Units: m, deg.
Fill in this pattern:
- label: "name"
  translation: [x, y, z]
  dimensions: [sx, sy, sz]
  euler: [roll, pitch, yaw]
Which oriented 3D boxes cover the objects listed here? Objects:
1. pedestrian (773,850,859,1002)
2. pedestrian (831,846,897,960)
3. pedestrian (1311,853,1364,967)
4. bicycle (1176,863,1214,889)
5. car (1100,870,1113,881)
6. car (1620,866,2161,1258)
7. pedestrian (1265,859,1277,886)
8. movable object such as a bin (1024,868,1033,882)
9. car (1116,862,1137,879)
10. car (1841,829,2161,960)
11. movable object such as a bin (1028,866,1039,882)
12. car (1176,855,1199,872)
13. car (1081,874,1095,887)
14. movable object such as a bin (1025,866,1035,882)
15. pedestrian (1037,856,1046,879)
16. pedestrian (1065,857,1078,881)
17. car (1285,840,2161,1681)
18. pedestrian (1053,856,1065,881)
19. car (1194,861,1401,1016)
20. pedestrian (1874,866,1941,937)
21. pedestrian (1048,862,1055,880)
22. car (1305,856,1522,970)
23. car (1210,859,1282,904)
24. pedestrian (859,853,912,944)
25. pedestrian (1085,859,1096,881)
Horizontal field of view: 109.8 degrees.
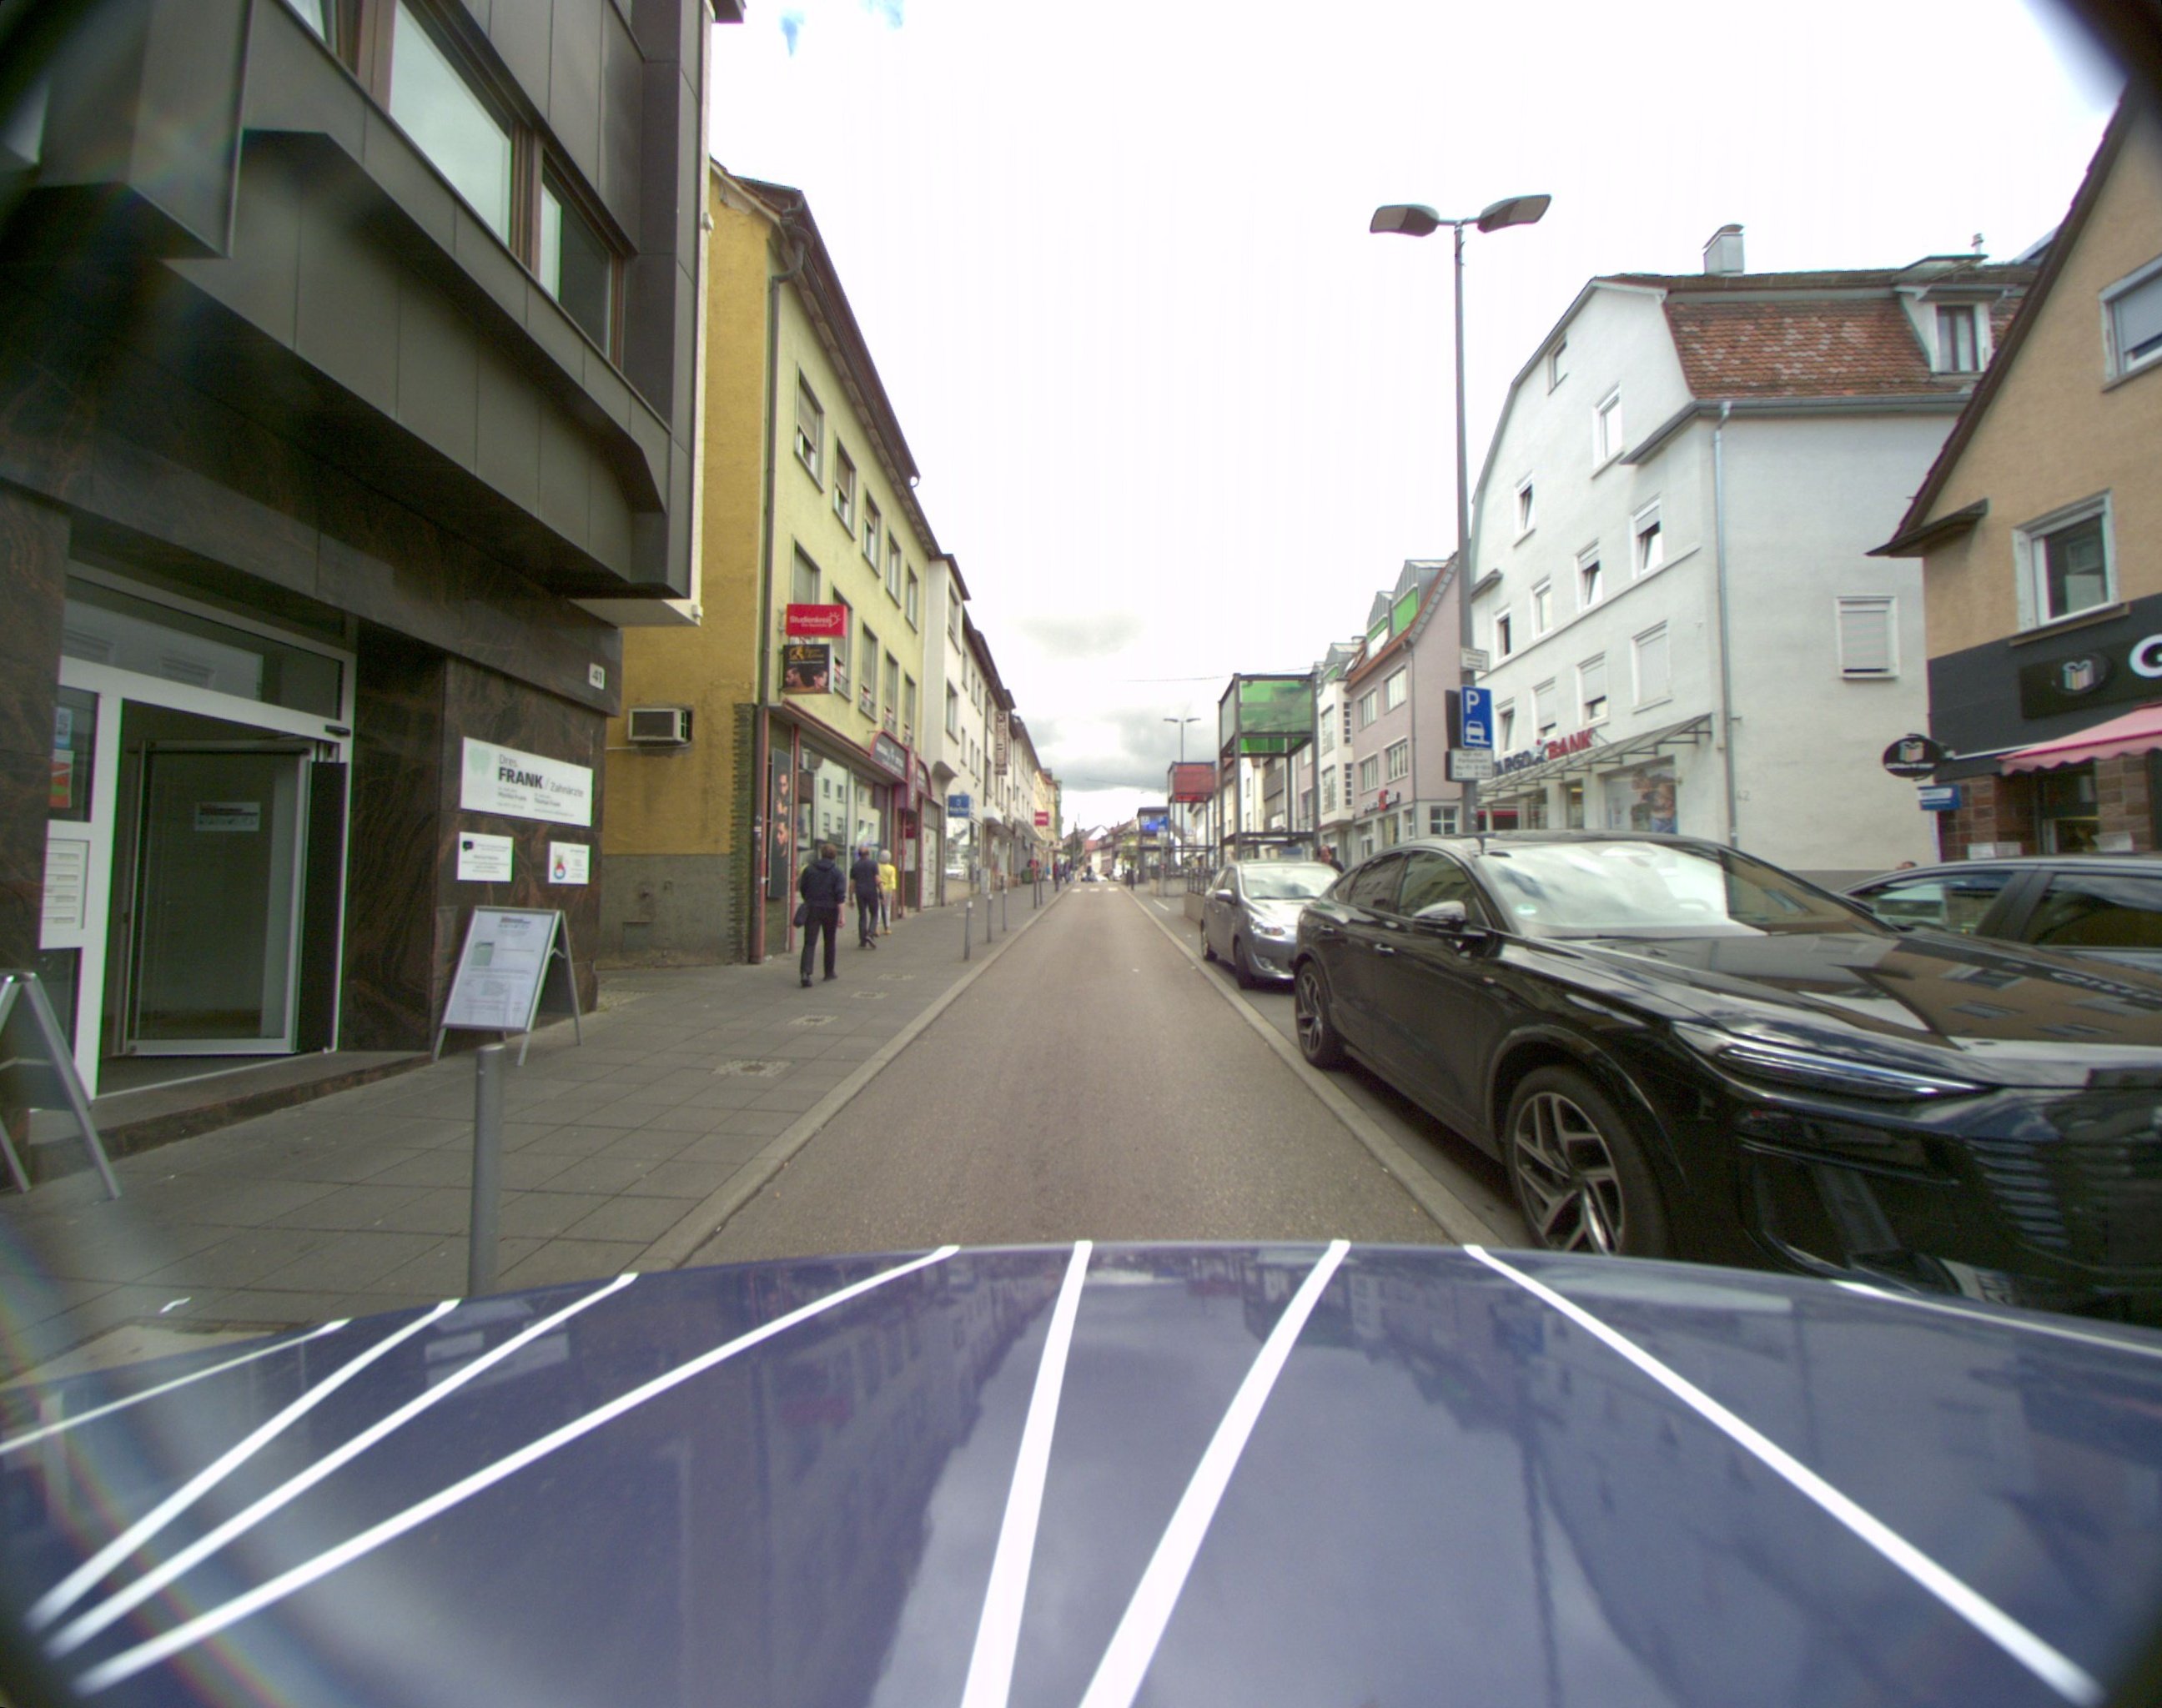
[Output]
- label: "pedestrian"
  translation: [-3.182, 0.832, 9.197]
  dimensions: [0.713, 1.743, 0.787]
  euler: [1, 0, 1]
- label: "pedestrian"
  translation: [-3.507, 0.768, 12.319]
  dimensions: [0.713, 1.743, 0.785]
  euler: [4, 0, 1]
- label: "pedestrian"
  translation: [3.882, 0.822, 11.548]
  dimensions: [0.535, 1.662, 0.901]
  euler: [-1, 0, 4]
- label: "bicycle"
  translation: [5.442, 1.060, 36.330]
  dimensions: [1.782, 1.216, 0.460]
  euler: [0, 1, 0]
- label: "car"
  translation: [4.040, 3.396, 120.757]
  dimensions: [1.741, 1.608, 3.999]
  euler: [-2, 0, -1]
- label: "car"
  translation: [5.087, 0.871, 3.944]
  dimensions: [1.743, 1.467, 3.883]
  euler: [3, 0, 0]
- label: "pedestrian"
  translation: [12.111, 1.153, 48.482]
  dimensions: [0.592, 1.706, 0.513]
  euler: [-2, 1, 1]
- label: "movable object such as a bin"
  translation: [-3.436, 1.380, 49.648]
  dimensions: [0.568, 0.951, 0.498]
  euler: [0, 0, 1]
- label: "car"
  translation: [4.155, 1.501, 69.701]
  dimensions: [1.754, 1.452, 3.601]
  euler: [-2, 0, 2]
- label: "car"
  translation: [15.630, 0.620, 12.561]
  dimensions: [4.080, 1.862, 1.884]
  euler: [-3, 0, 3]
- label: "movable object such as a bin"
  translation: [-3.171, 1.317, 50.980]
  dimensions: [0.652, 1.074, 0.673]
  euler: [0, 0, 1]
- label: "car"
  translation: [10.304, 0.873, 73.615]
  dimensions: [1.683, 1.562, 4.122]
  euler: [-2, 0, 1]
- label: "car"
  translation: [0.938, 3.563, 101.906]
  dimensions: [1.741, 1.608, 3.843]
  euler: [-2, 0, 1]
- label: "movable object such as a bin"
  translation: [-3.372, 1.323, 50.260]
  dimensions: [0.670, 1.024, 0.560]
  euler: [0, 0, 1]
- label: "pedestrian"
  translation: [-3.060, 1.050, 58.920]
  dimensions: [0.627, 1.715, 0.607]
  euler: [2, 0, -4]
- label: "pedestrian"
  translation: [-0.675, 1.021, 52.535]
  dimensions: [0.740, 1.660, 0.786]
  euler: [2, 0, -8]
- label: "car"
  translation: [2.563, 0.800, 3.667]
  dimensions: [1.961, 1.630, 4.314]
  euler: [-2, 0, 0]
- label: "pedestrian"
  translation: [-1.507, 0.990, 52.455]
  dimensions: [0.740, 1.660, 0.627]
  euler: [2, 0, -8]
- label: "car"
  translation: [2.526, 0.900, 9.752]
  dimensions: [1.624, 1.523, 3.670]
  euler: [-2, 0, 1]
- label: "pedestrian"
  translation: [15.752, 0.887, 14.491]
  dimensions: [0.627, 1.311, 0.607]
  euler: [-1, 0, 1]
- label: "pedestrian"
  translation: [-2.805, 1.611, 72.337]
  dimensions: [0.627, 1.620, 0.607]
  euler: [-2, 1, -4]
- label: "car"
  translation: [5.192, 0.821, 12.551]
  dimensions: [1.743, 1.534, 4.193]
  euler: [0, 0, 0]
- label: "car"
  translation: [5.786, 0.930, 27.035]
  dimensions: [1.573, 1.466, 3.855]
  euler: [1, 0, -2]
- label: "pedestrian"
  translation: [-3.654, 0.816, 14.236]
  dimensions: [0.713, 1.621, 0.835]
  euler: [2, 0, 1]
- label: "pedestrian"
  translation: [0.766, 1.279, 61.744]
  dimensions: [0.759, 1.715, 0.756]
  euler: [4, 0, -4]
